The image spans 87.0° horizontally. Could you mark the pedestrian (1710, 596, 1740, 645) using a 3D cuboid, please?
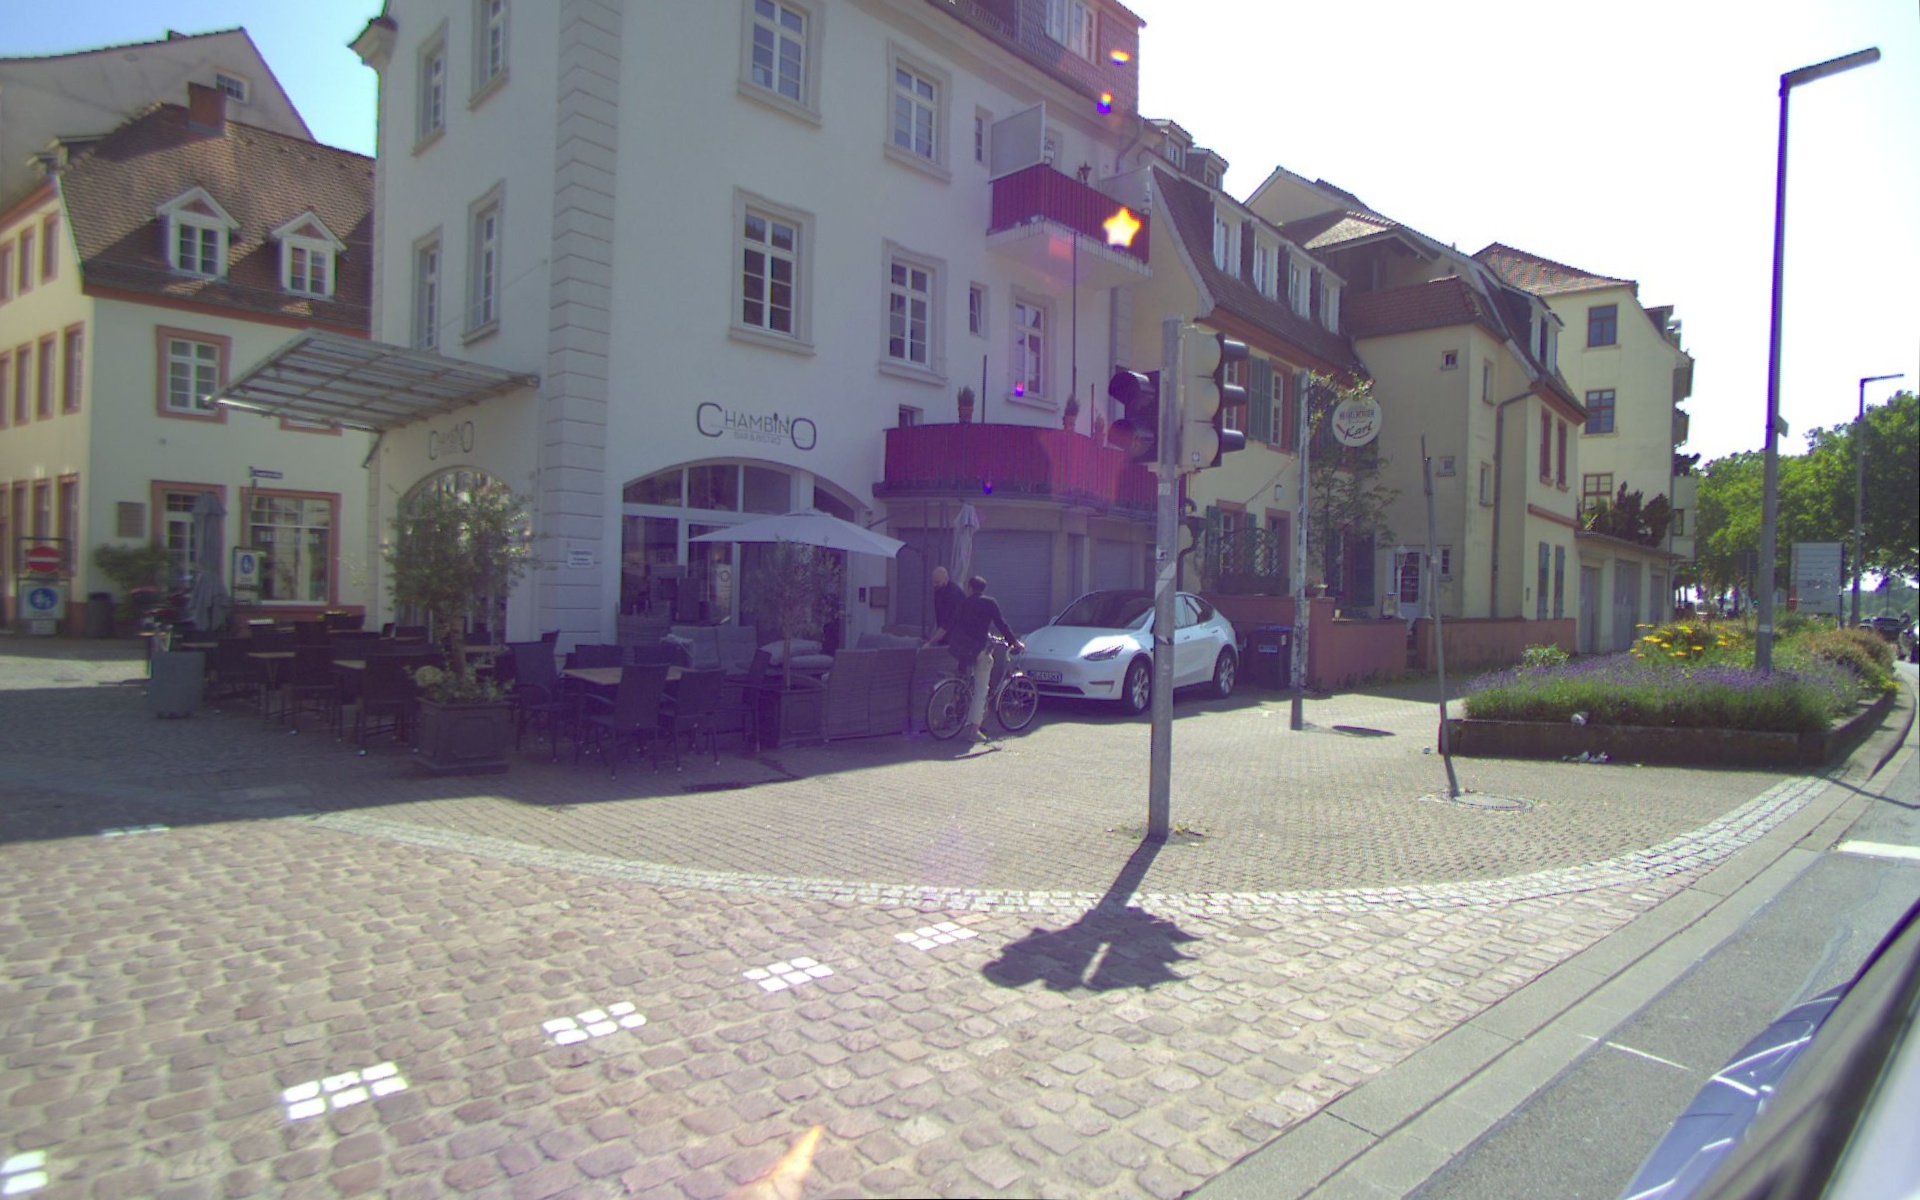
[{"bbox_3d":[25.740,0.672,34.035,0.760,1.615,0.686,1,0,39],"label":"pedestrian"}]

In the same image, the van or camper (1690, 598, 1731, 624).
[{"bbox_3d":[72.665,1.012,98.040,2.419,2.313,6.138,2,1,30],"label":"van or camper"}]

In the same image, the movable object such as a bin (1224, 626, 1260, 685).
[{"bbox_3d":[4.833,0.940,17.346,0.315,0.955,0.496,1,1,-43],"label":"movable object such as a bin"}]

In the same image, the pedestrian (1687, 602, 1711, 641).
[{"bbox_3d":[34.666,0.998,47.466,0.759,1.734,0.687,5,3,34],"label":"pedestrian"}]

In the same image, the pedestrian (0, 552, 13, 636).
[{"bbox_3d":[-21.269,-0.147,22.095,0.693,1.821,0.753,4,2,39],"label":"pedestrian"}]

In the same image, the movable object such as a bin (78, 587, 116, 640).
[{"bbox_3d":[-18.879,0.280,22.136,0.588,1.120,0.669,1,1,-43],"label":"movable object such as a bin"}]

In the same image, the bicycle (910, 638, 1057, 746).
[{"bbox_3d":[0.291,0.944,10.944,0.747,0.976,1.760,1,1,35],"label":"bicycle"}]

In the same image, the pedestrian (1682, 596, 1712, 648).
[{"bbox_3d":[25.171,0.752,34.558,0.736,1.720,0.920,3,1,39],"label":"pedestrian"}]

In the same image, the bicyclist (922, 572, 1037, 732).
[{"bbox_3d":[0.228,0.520,10.898,0.763,1.603,1.076,2,1,33],"label":"bicyclist"}]

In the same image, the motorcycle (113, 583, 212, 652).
[{"bbox_3d":[-16.575,0.331,21.108,0.748,1.298,2.334,1,2,-14],"label":"motorcycle"}]

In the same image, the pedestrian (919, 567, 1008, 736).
[{"bbox_3d":[0.036,0.575,11.911,0.761,1.881,0.601,4,2,39],"label":"pedestrian"}]

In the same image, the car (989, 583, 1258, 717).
[{"bbox_3d":[2.547,0.603,14.717,1.873,1.597,4.663,1,1,37],"label":"car"}]

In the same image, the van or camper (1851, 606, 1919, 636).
[{"bbox_3d":[52.256,1.170,57.269,1.986,1.472,4.627,4,2,33],"label":"van or camper"}]

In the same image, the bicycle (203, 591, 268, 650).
[{"bbox_3d":[-15.733,0.427,21.971,1.871,1.208,0.630,2,0,38],"label":"bicycle"}]

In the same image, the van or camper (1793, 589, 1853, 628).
[{"bbox_3d":[61.401,0.580,72.116,2.078,2.589,7.012,1,1,31],"label":"van or camper"}]

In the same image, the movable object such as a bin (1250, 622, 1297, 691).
[{"bbox_3d":[5.227,0.932,16.901,0.358,1.080,0.642,1,1,-42],"label":"movable object such as a bin"}]

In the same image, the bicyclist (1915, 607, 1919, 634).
[{"bbox_3d":[58.807,1.260,61.610,0.737,1.689,1.076,2,0,33],"label":"bicyclist"}]

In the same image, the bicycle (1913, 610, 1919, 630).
[{"bbox_3d":[58.883,1.220,61.749,0.709,1.183,1.873,1,0,33],"label":"bicycle"}]
